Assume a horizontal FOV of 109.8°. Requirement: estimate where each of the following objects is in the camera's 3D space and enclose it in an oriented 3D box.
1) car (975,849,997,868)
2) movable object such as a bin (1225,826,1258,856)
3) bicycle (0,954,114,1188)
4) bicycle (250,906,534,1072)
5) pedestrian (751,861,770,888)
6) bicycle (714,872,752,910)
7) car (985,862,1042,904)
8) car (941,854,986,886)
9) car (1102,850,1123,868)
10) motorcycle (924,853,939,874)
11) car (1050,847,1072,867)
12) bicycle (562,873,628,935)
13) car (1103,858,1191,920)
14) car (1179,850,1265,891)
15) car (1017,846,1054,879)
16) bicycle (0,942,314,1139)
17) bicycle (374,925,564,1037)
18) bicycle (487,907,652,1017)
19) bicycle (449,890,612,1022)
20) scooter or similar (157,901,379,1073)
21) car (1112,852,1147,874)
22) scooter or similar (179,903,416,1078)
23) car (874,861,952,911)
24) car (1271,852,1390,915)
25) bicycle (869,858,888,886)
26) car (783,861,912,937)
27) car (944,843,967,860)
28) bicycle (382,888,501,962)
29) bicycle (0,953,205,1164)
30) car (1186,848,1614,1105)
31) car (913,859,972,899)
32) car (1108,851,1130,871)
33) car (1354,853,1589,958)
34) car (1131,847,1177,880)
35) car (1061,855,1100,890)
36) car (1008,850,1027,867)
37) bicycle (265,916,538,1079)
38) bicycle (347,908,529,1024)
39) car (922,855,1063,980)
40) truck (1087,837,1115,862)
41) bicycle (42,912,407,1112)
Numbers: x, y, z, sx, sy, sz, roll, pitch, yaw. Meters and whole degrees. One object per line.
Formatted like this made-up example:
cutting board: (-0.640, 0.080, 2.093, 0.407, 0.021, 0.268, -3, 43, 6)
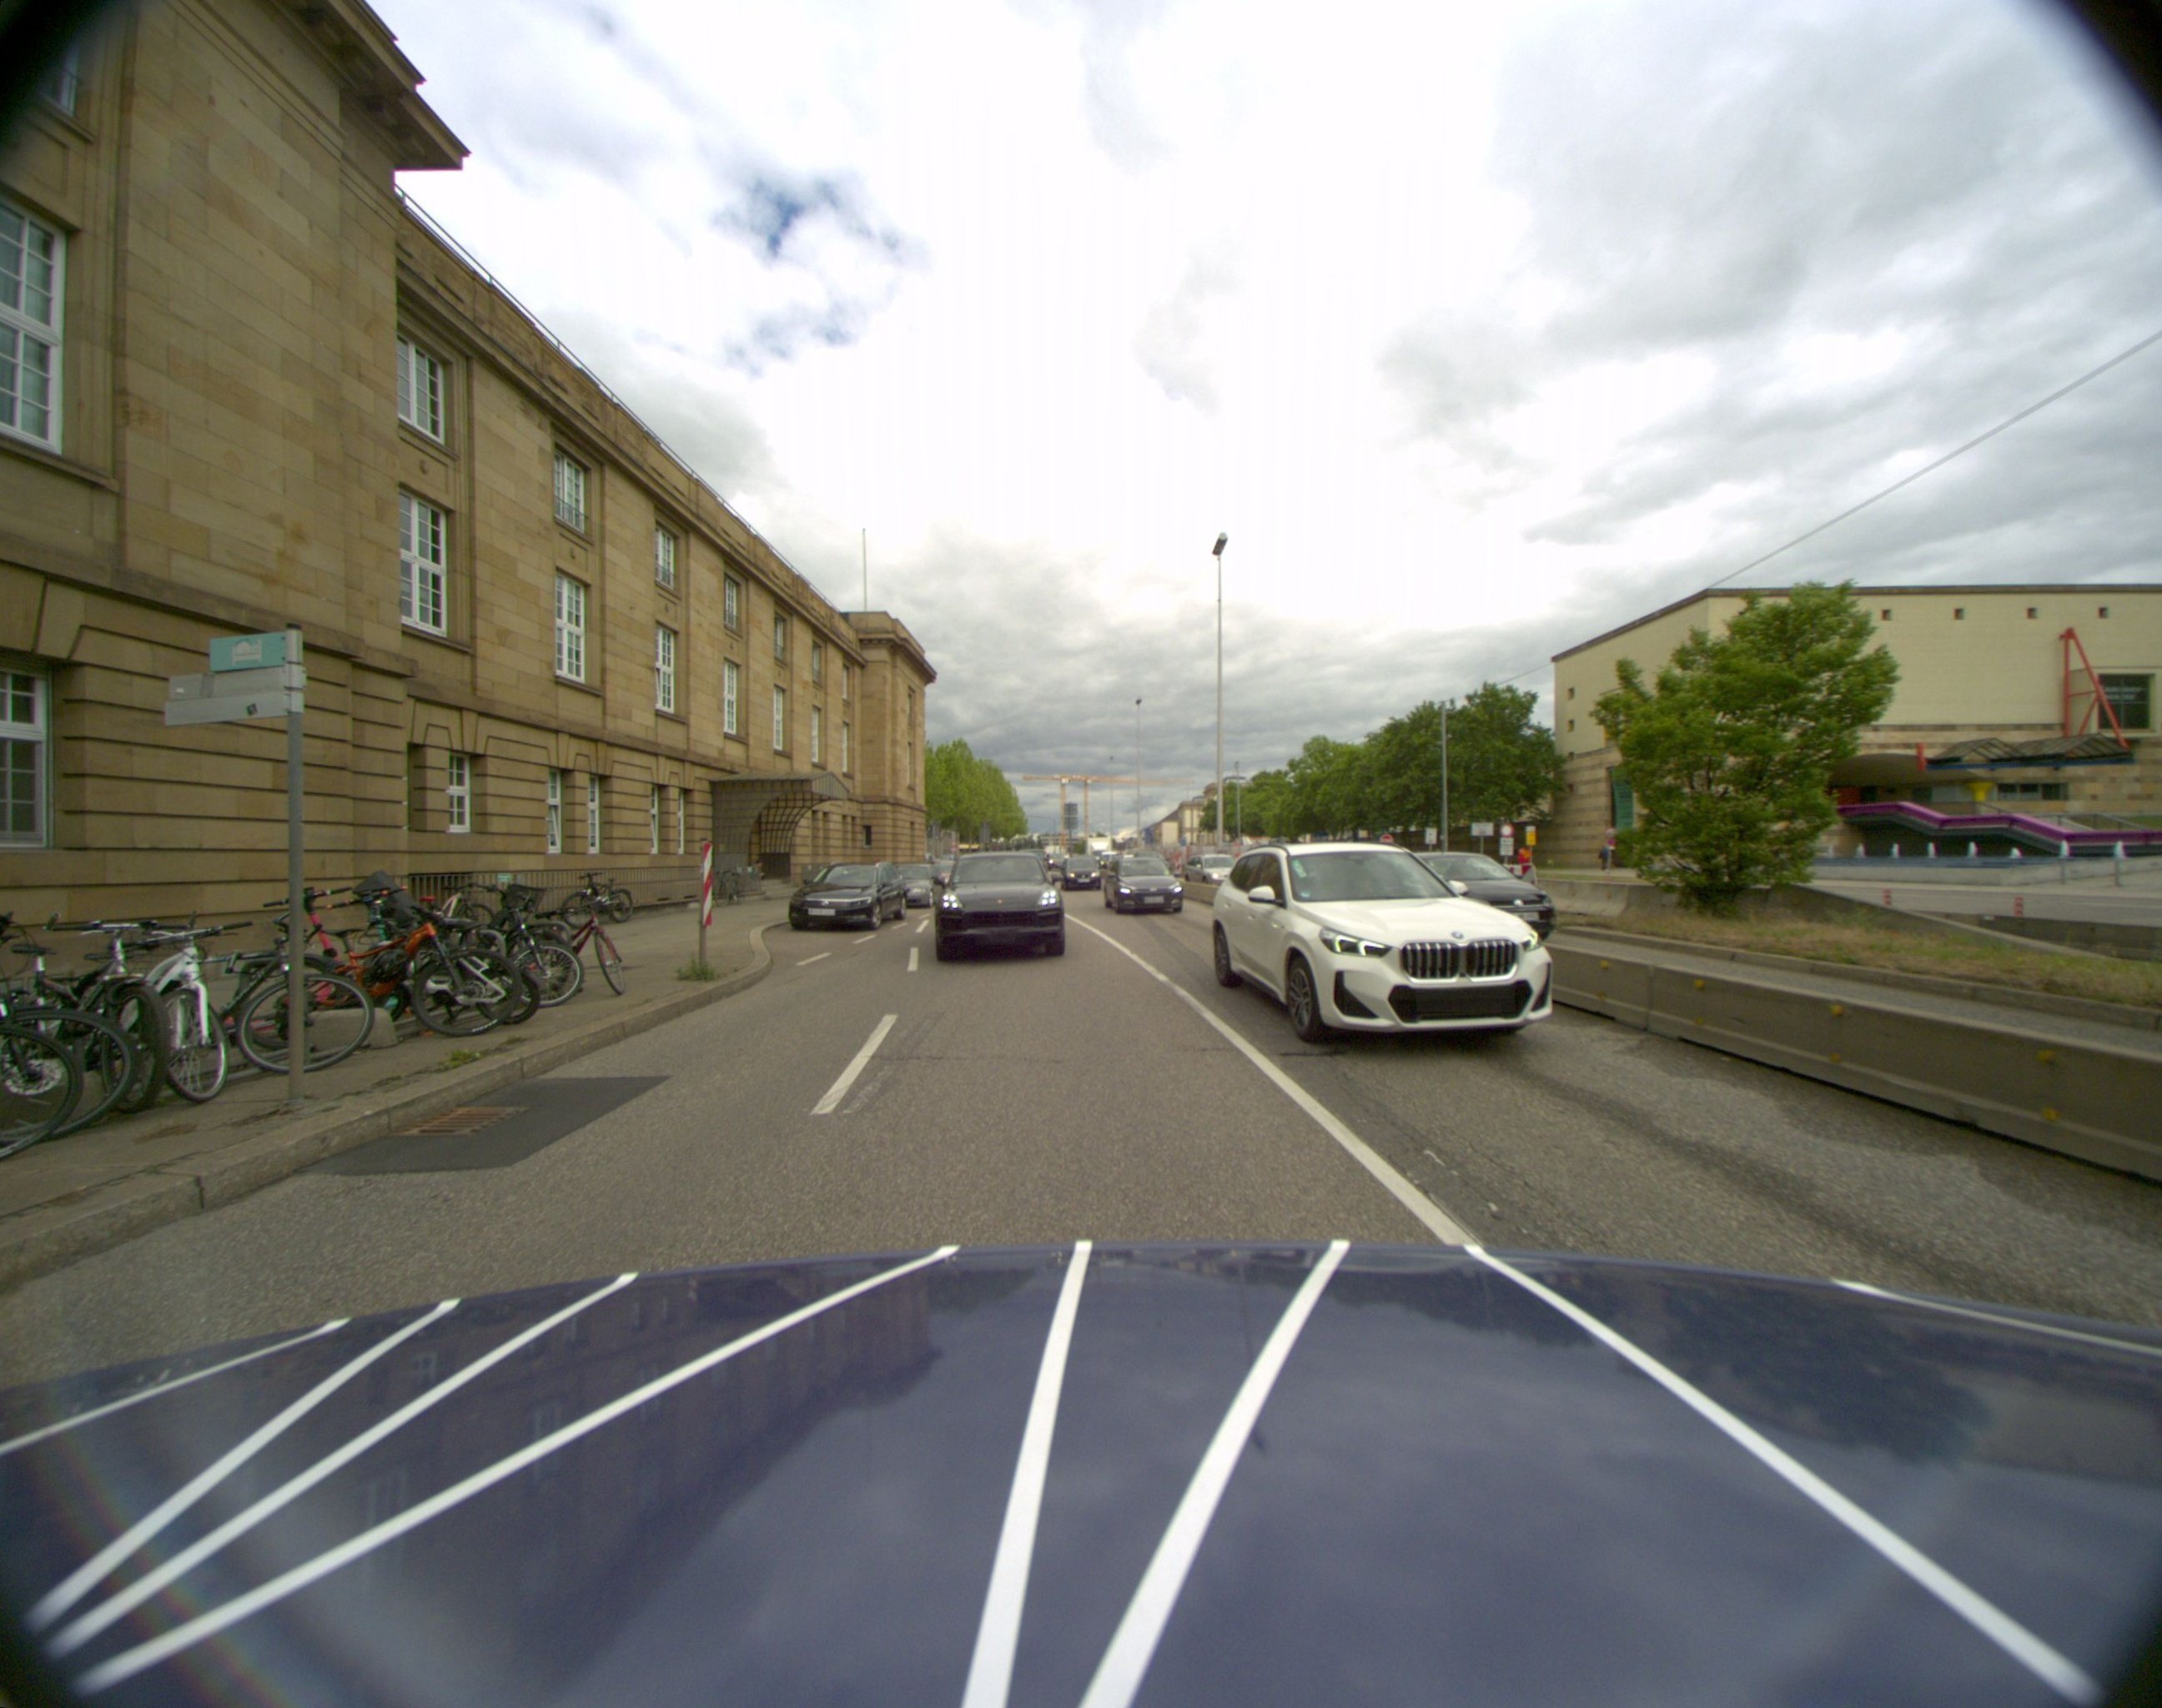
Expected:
car: (-9.077, 0.479, 72.973, 1.810, 1.728, 4.484, -1, 0, -4)
movable object such as a bin: (11.951, -0.933, 56.797, 1.526, 2.172, 3.291, -1, 0, -4)
bicycle: (-6.051, 1.099, 4.030, 1.731, 1.085, 0.426, -2, 1, 14)
bicycle: (-5.489, 1.038, 6.161, 1.616, 1.123, 0.407, -2, 1, -25)
pedestrian: (-10.800, 0.694, 25.578, 0.430, 0.868, 0.373, -2, 1, 2)
bicycle: (-10.299, 1.063, 22.515, 0.222, 1.023, 1.859, -2, 0, 1)
car: (-2.433, 1.002, 27.960, 1.935, 1.368, 3.999, 1, 0, -4)
car: (-5.880, 0.783, 38.429, 1.549, 1.543, 3.709, 0, 0, 2)
car: (3.165, 0.479, 76.657, 1.842, 1.751, 4.479, 0, 0, -1)
motorcycle: (-9.277, 0.591, 47.156, 0.456, 1.235, 1.923, 1, 1, 4)
car: (-1.890, 0.248, 72.859, 1.998, 1.849, 3.999, -1, 1, 0)
bicycle: (-10.264, 1.029, 16.092, 0.276, 1.176, 1.538, -2, 1, 3)
car: (1.710, 0.888, 20.989, 1.803, 1.429, 4.018, -1, 1, -4)
car: (5.462, 0.592, 30.149, 1.884, 1.473, 4.700, -2, 1, -9)
car: (-2.753, 0.487, 47.192, 1.952, 1.914, 4.399, -1, 0, 1)
bicycle: (-5.979, 1.152, 4.864, 1.731, 1.085, 0.575, -2, 1, 9)
bicycle: (-6.010, 1.206, 7.458, 1.730, 0.912, 0.614, -1, 1, 20)
bicycle: (-5.548, 1.133, 8.241, 1.664, 1.068, 0.586, -1, 1, 20)
bicycle: (-5.682, 1.020, 7.843, 1.544, 1.249, 0.544, -2, 1, 20)
scooter or similar: (-6.910, 1.082, 6.530, 0.563, 1.271, 1.149, -2, 1, 7)
car: (3.132, 0.557, 49.320, 1.731, 1.288, 3.933, -2, 1, -4)
scooter or similar: (-6.514, 1.079, 6.411, 0.426, 1.217, 1.313, -2, 1, 11)
car: (-5.430, 0.986, 25.028, 1.713, 1.418, 3.996, 0, 1, 0)
car: (6.588, 0.717, 20.531, 1.677, 1.498, 3.852, -2, 1, -4)
bicycle: (-9.831, 0.852, 36.982, 0.413, 1.281, 1.790, 0, 1, 1)
car: (-5.304, 0.948, 17.874, 1.793, 1.477, 4.324, -1, 1, -2)
car: (-12.087, -0.251, 73.326, 1.584, 1.521, 3.503, -1, 1, 2)
bicycle: (-10.333, 1.110, 12.373, 0.241, 0.992, 1.962, -1, 1, 0)
bicycle: (-6.046, 1.152, 4.471, 1.731, 1.085, 0.381, -2, 1, 14)
car: (2.475, 0.787, 7.477, 1.856, 1.619, 4.904, -2, 1, -4)
car: (-5.468, 0.940, 30.454, 1.620, 1.447, 3.858, 1, 1, 0)
car: (3.161, 0.570, 63.915, 1.634, 1.546, 3.001, -1, 1, -2)
car: (6.376, 0.736, 13.024, 1.664, 1.446, 4.196, -1, 1, -3)
car: (3.855, 0.458, 40.870, 1.781, 1.611, 4.044, -2, 1, -4)
car: (-0.063, 0.797, 34.229, 1.612, 1.465, 3.621, -1, 0, -2)
car: (-7.761, 0.573, 93.358, 1.999, 2.002, 3.999, -1, 0, -1)
bicycle: (-5.639, 1.152, 6.420, 1.616, 1.123, 0.469, -2, 1, -25)
bicycle: (-6.152, 1.059, 7.276, 1.565, 1.022, 0.436, -2, 1, 12)
car: (-1.332, 0.890, 12.768, 1.908, 1.648, 4.199, -2, 1, -3)
truck: (2.200, -0.523, 85.750, 2.978, 2.757, 7.254, 0, 0, 0)
bicycle: (-5.913, 1.062, 5.319, 1.762, 1.202, 0.604, -2, 1, -2)
